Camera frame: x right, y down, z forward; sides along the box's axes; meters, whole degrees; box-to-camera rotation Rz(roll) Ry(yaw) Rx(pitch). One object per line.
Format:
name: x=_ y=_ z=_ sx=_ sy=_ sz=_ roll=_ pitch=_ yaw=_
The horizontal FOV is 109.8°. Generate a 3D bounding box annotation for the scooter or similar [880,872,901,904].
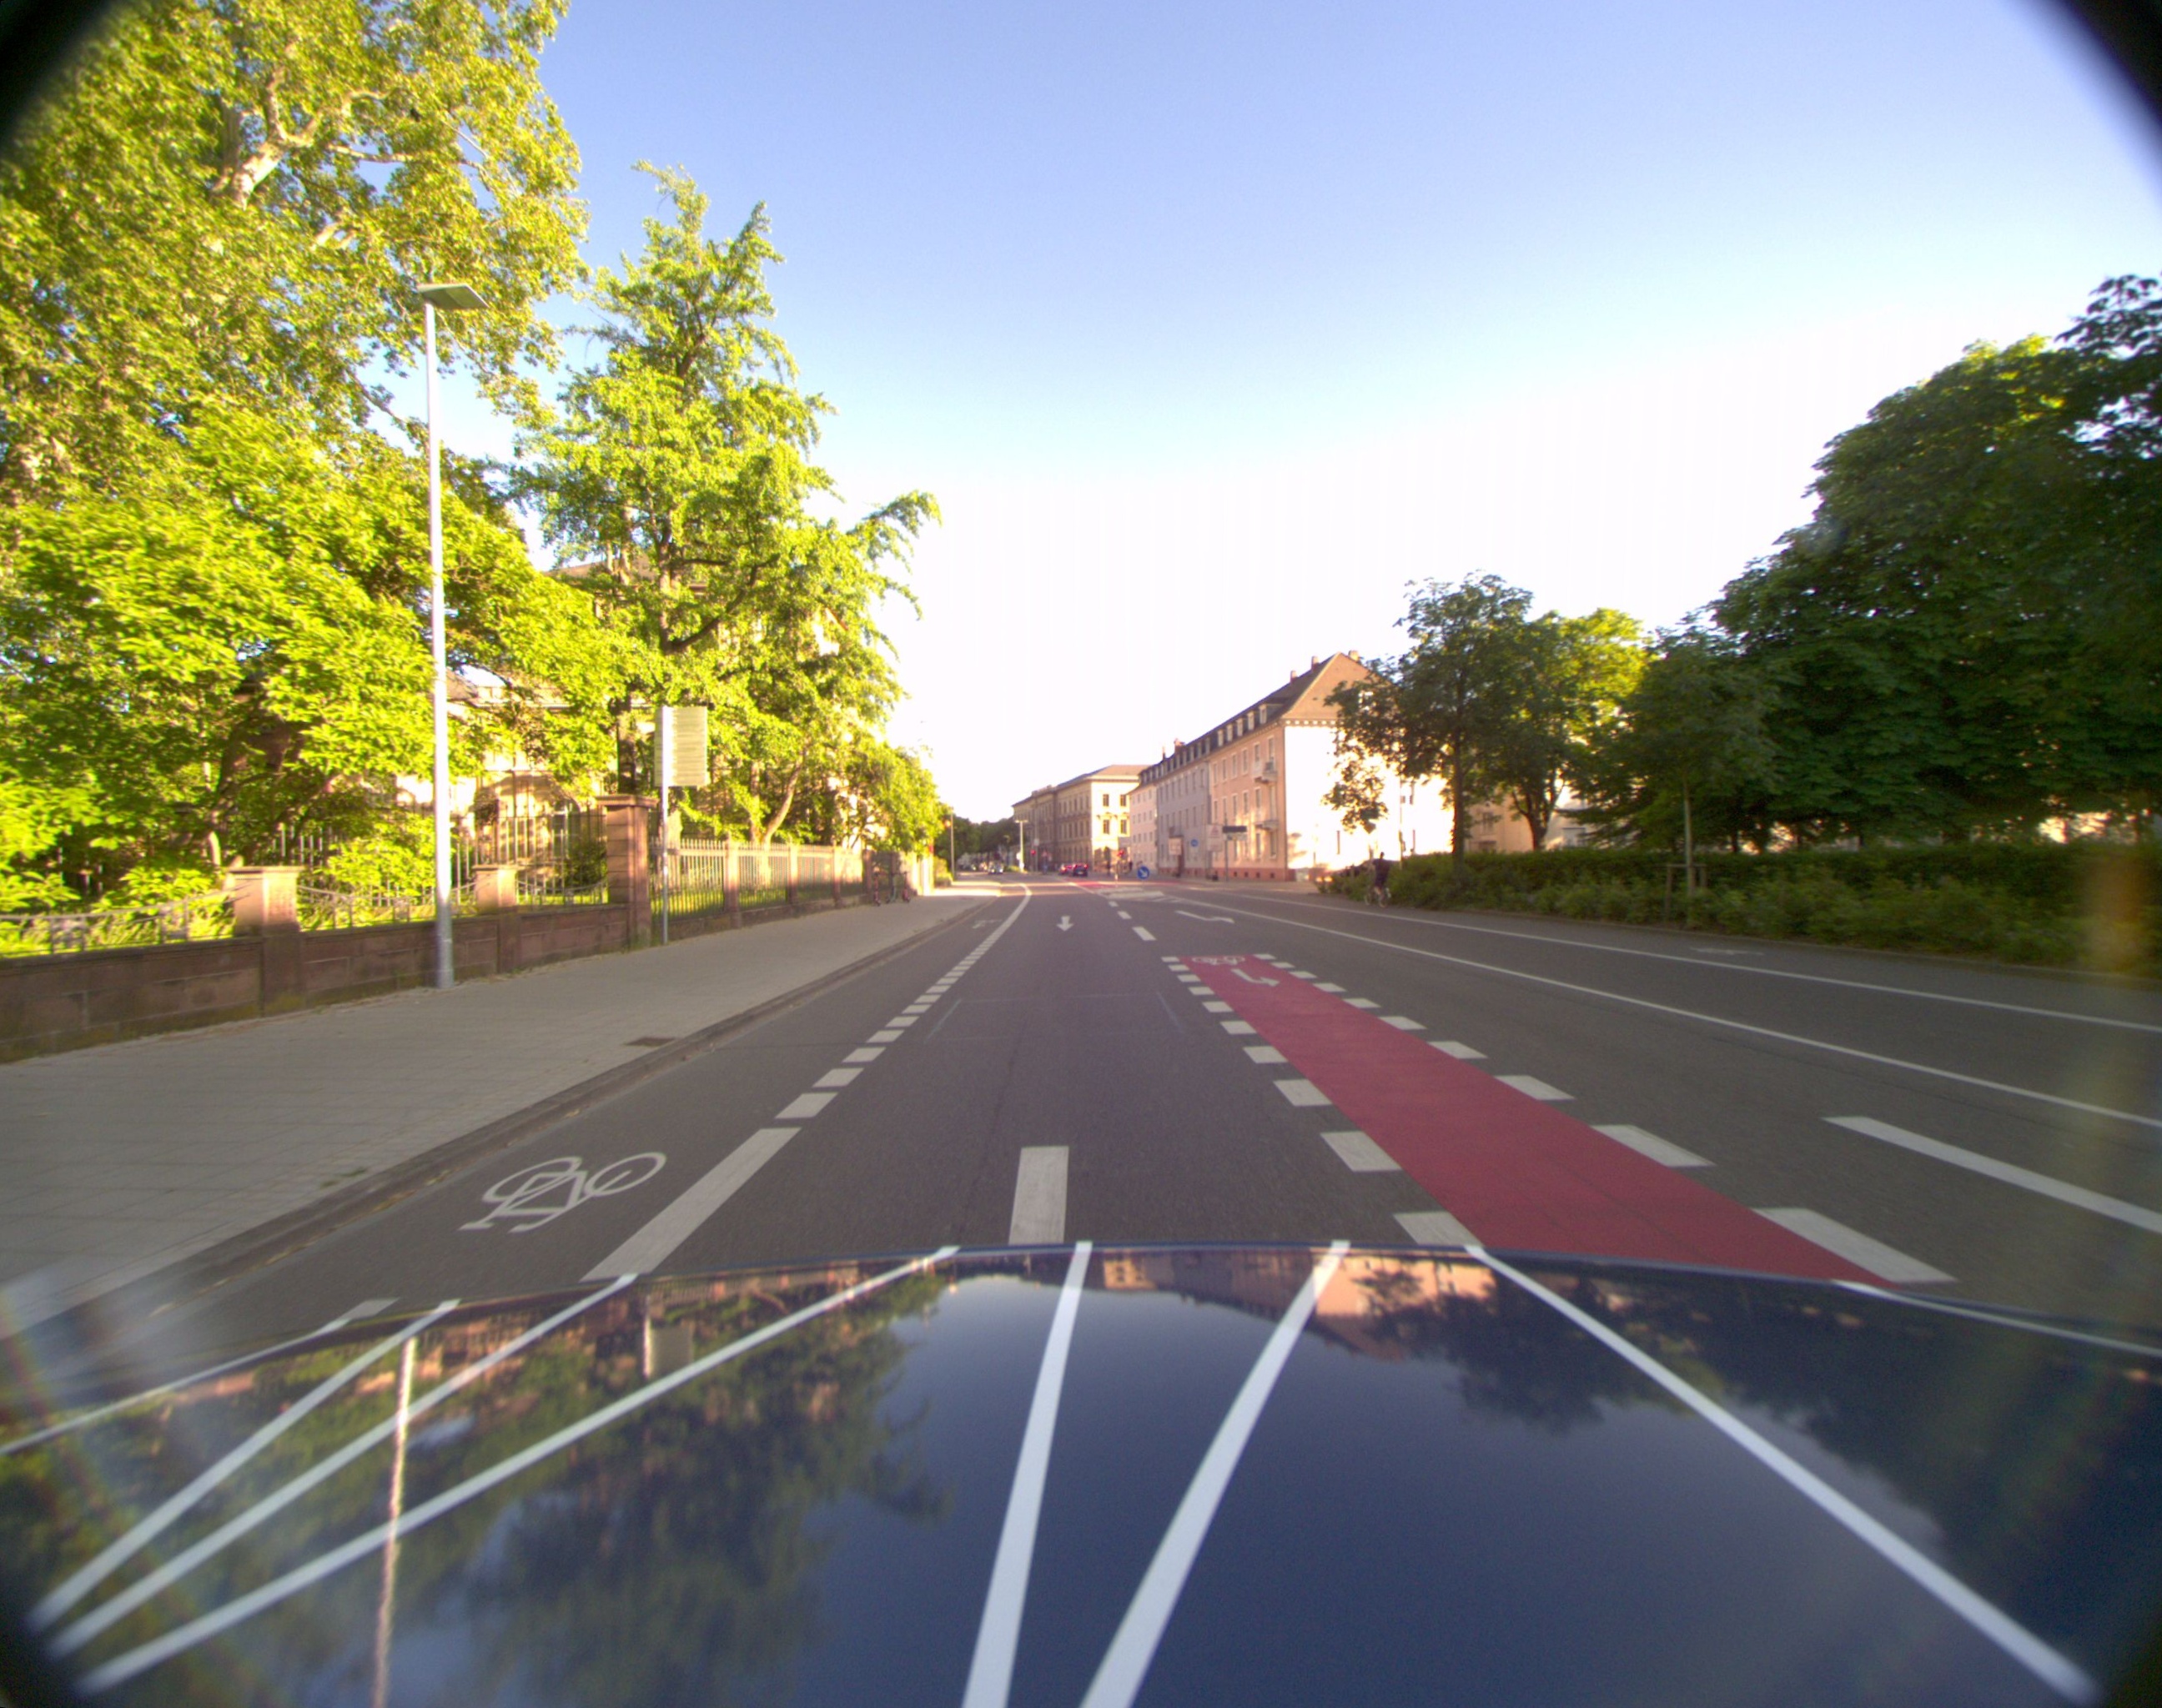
scooter or similar: x=-7.287 y=1.286 z=29.060 sx=0.576 sy=1.177 sz=1.487 roll=-1 pitch=0 yaw=-7

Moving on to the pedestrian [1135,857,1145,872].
pedestrian: x=7.640 y=1.305 z=98.496 sx=0.949 sy=1.894 sz=1.062 roll=-2 pitch=1 yaw=-6

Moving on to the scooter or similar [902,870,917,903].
scooter or similar: x=-6.802 y=1.274 z=30.136 sx=0.517 sy=1.233 sz=1.521 roll=-1 pitch=0 yaw=-11

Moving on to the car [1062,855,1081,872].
car: x=-1.212 y=1.092 z=92.624 sx=1.999 sy=2.002 sz=3.998 roll=0 pitch=0 yaw=-4

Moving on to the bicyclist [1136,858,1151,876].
bicyclist: x=5.006 y=1.046 z=61.316 sx=1.026 sy=1.481 sz=0.870 roll=0 pitch=0 yaw=-9

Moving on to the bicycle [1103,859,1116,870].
bicycle: x=3.137 y=1.159 z=83.891 sx=0.956 sy=1.216 sz=2.777 roll=0 pitch=0 yaw=-9

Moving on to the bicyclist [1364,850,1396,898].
bicyclist: x=9.755 y=0.636 z=24.835 sx=0.691 sy=1.553 sz=0.838 roll=0 pitch=0 yaw=-2

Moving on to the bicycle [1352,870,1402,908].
bicycle: x=9.744 y=1.129 z=25.118 sx=0.697 sy=1.152 sz=2.245 roll=0 pitch=0 yaw=-2

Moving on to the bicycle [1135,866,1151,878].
bicycle: x=4.985 y=1.418 z=61.463 sx=0.663 sy=0.907 sz=2.861 roll=0 pitch=0 yaw=-8

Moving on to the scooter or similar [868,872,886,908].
scooter or similar: x=-7.295 y=1.268 z=27.207 sx=0.576 sy=1.246 sz=1.486 roll=-1 pitch=0 yaw=-15

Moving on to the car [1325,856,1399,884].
car: x=18.293 y=1.029 z=49.577 sx=4.000 sy=1.652 sz=1.998 roll=-2 pitch=1 yaw=-9

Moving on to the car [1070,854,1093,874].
car: x=0.014 y=1.009 z=79.137 sx=1.999 sy=2.002 sz=3.998 roll=0 pitch=0 yaw=-5

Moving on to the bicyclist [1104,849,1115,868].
bicyclist: x=3.145 y=0.507 z=83.779 sx=0.956 sy=2.002 sz=1.307 roll=0 pitch=0 yaw=-8

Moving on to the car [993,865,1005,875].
car: x=-12.106 y=2.303 z=112.267 sx=1.710 sy=1.397 sz=4.262 roll=0 pitch=0 yaw=-6
